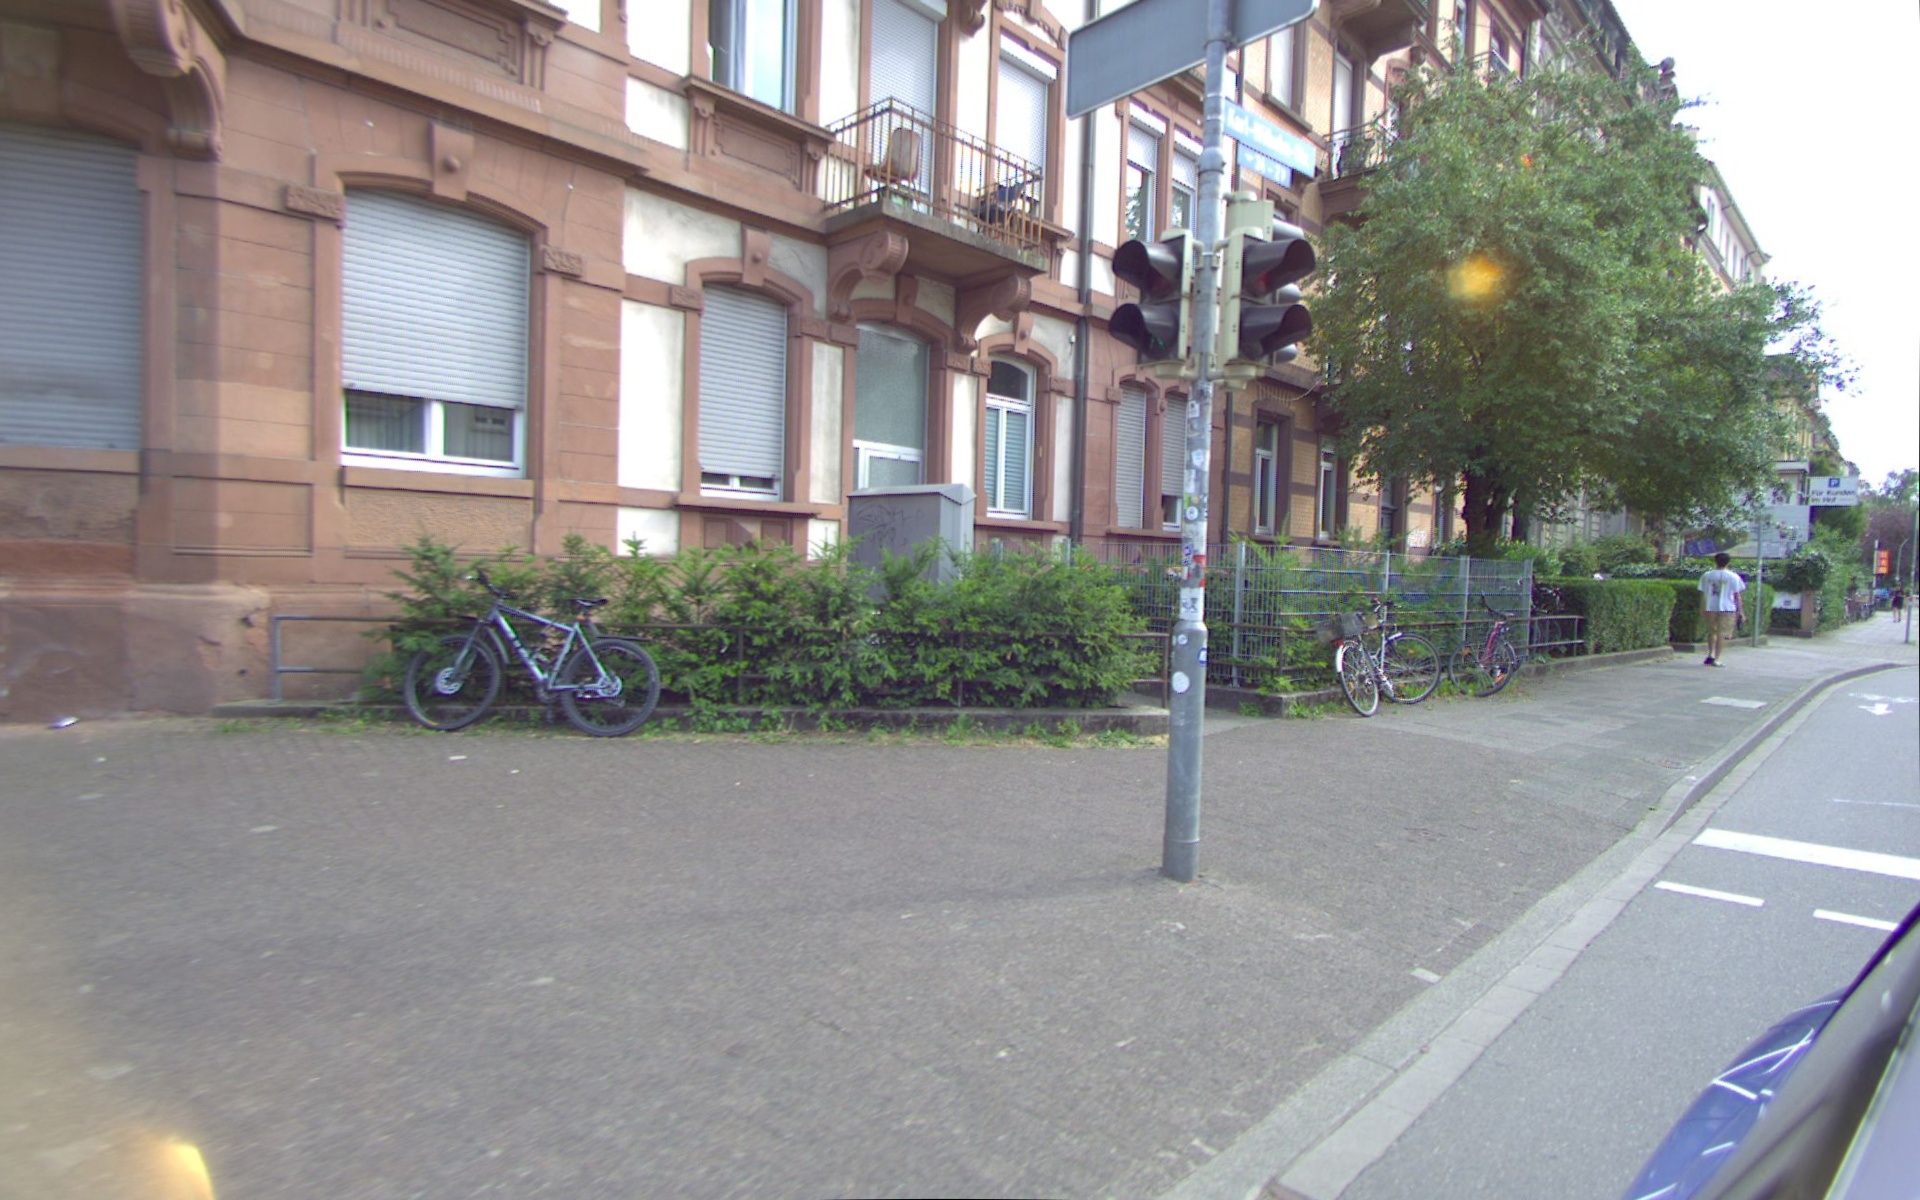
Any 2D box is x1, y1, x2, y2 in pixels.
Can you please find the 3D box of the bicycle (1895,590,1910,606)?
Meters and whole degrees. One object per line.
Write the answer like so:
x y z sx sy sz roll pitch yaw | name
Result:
67.526 -0.148 72.483 1.843 1.126 0.630 0 3 -44 | bicycle

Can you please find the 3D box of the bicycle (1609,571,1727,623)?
20.098 -0.101 28.762 2.624 1.328 0.758 4 3 43 | bicycle

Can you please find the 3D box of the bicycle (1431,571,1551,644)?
8.182 0.098 15.635 1.546 1.021 0.437 4 3 44 | bicycle

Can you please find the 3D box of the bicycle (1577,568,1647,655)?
10.326 0.165 15.999 1.524 1.297 0.517 0 3 -43 | bicycle

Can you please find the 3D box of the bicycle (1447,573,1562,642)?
8.814 0.101 16.427 1.546 1.021 0.437 4 3 44 | bicycle

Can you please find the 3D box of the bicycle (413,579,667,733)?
-2.822 0.375 6.912 1.517 0.981 0.511 1 2 -12 | bicycle

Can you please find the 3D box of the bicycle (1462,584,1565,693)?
6.199 0.398 11.311 1.525 1.101 0.509 0 6 -45 | bicycle

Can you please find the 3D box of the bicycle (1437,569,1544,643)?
9.241 0.085 17.668 1.546 1.195 0.509 4 3 44 | bicycle

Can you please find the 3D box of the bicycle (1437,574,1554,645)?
8.510 0.132 16.126 1.546 1.021 0.437 4 3 44 | bicycle

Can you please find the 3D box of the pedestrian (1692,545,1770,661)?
12.285 0.031 16.127 0.933 1.775 0.732 0 3 -40 | pedestrian

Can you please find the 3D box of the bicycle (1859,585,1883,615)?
37.095 -0.008 41.196 0.579 1.125 1.646 9 6 43 | bicycle

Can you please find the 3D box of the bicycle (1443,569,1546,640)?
9.737 0.061 18.479 1.546 1.195 0.509 4 3 44 | bicycle

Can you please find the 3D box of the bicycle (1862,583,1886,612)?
38.453 -0.113 42.584 0.579 1.125 1.646 9 6 43 | bicycle

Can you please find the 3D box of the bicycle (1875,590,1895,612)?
45.020 0.034 49.272 0.579 0.994 1.646 9 6 43 | bicycle

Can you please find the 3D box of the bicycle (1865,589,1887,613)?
40.904 0.045 45.192 0.579 0.994 1.646 9 6 43 | bicycle

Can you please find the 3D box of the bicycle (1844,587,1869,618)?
33.282 0.080 37.556 0.579 1.125 1.646 4 3 44 | bicycle

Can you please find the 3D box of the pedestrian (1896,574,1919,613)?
41.034 -0.270 43.753 0.731 1.643 0.822 4 3 45 | pedestrian

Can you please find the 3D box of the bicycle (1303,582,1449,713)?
4.020 0.408 9.716 1.645 1.120 0.671 0 3 -45 | bicycle

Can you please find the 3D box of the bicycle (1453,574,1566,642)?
9.084 0.117 16.771 1.546 1.021 0.437 4 3 44 | bicycle
